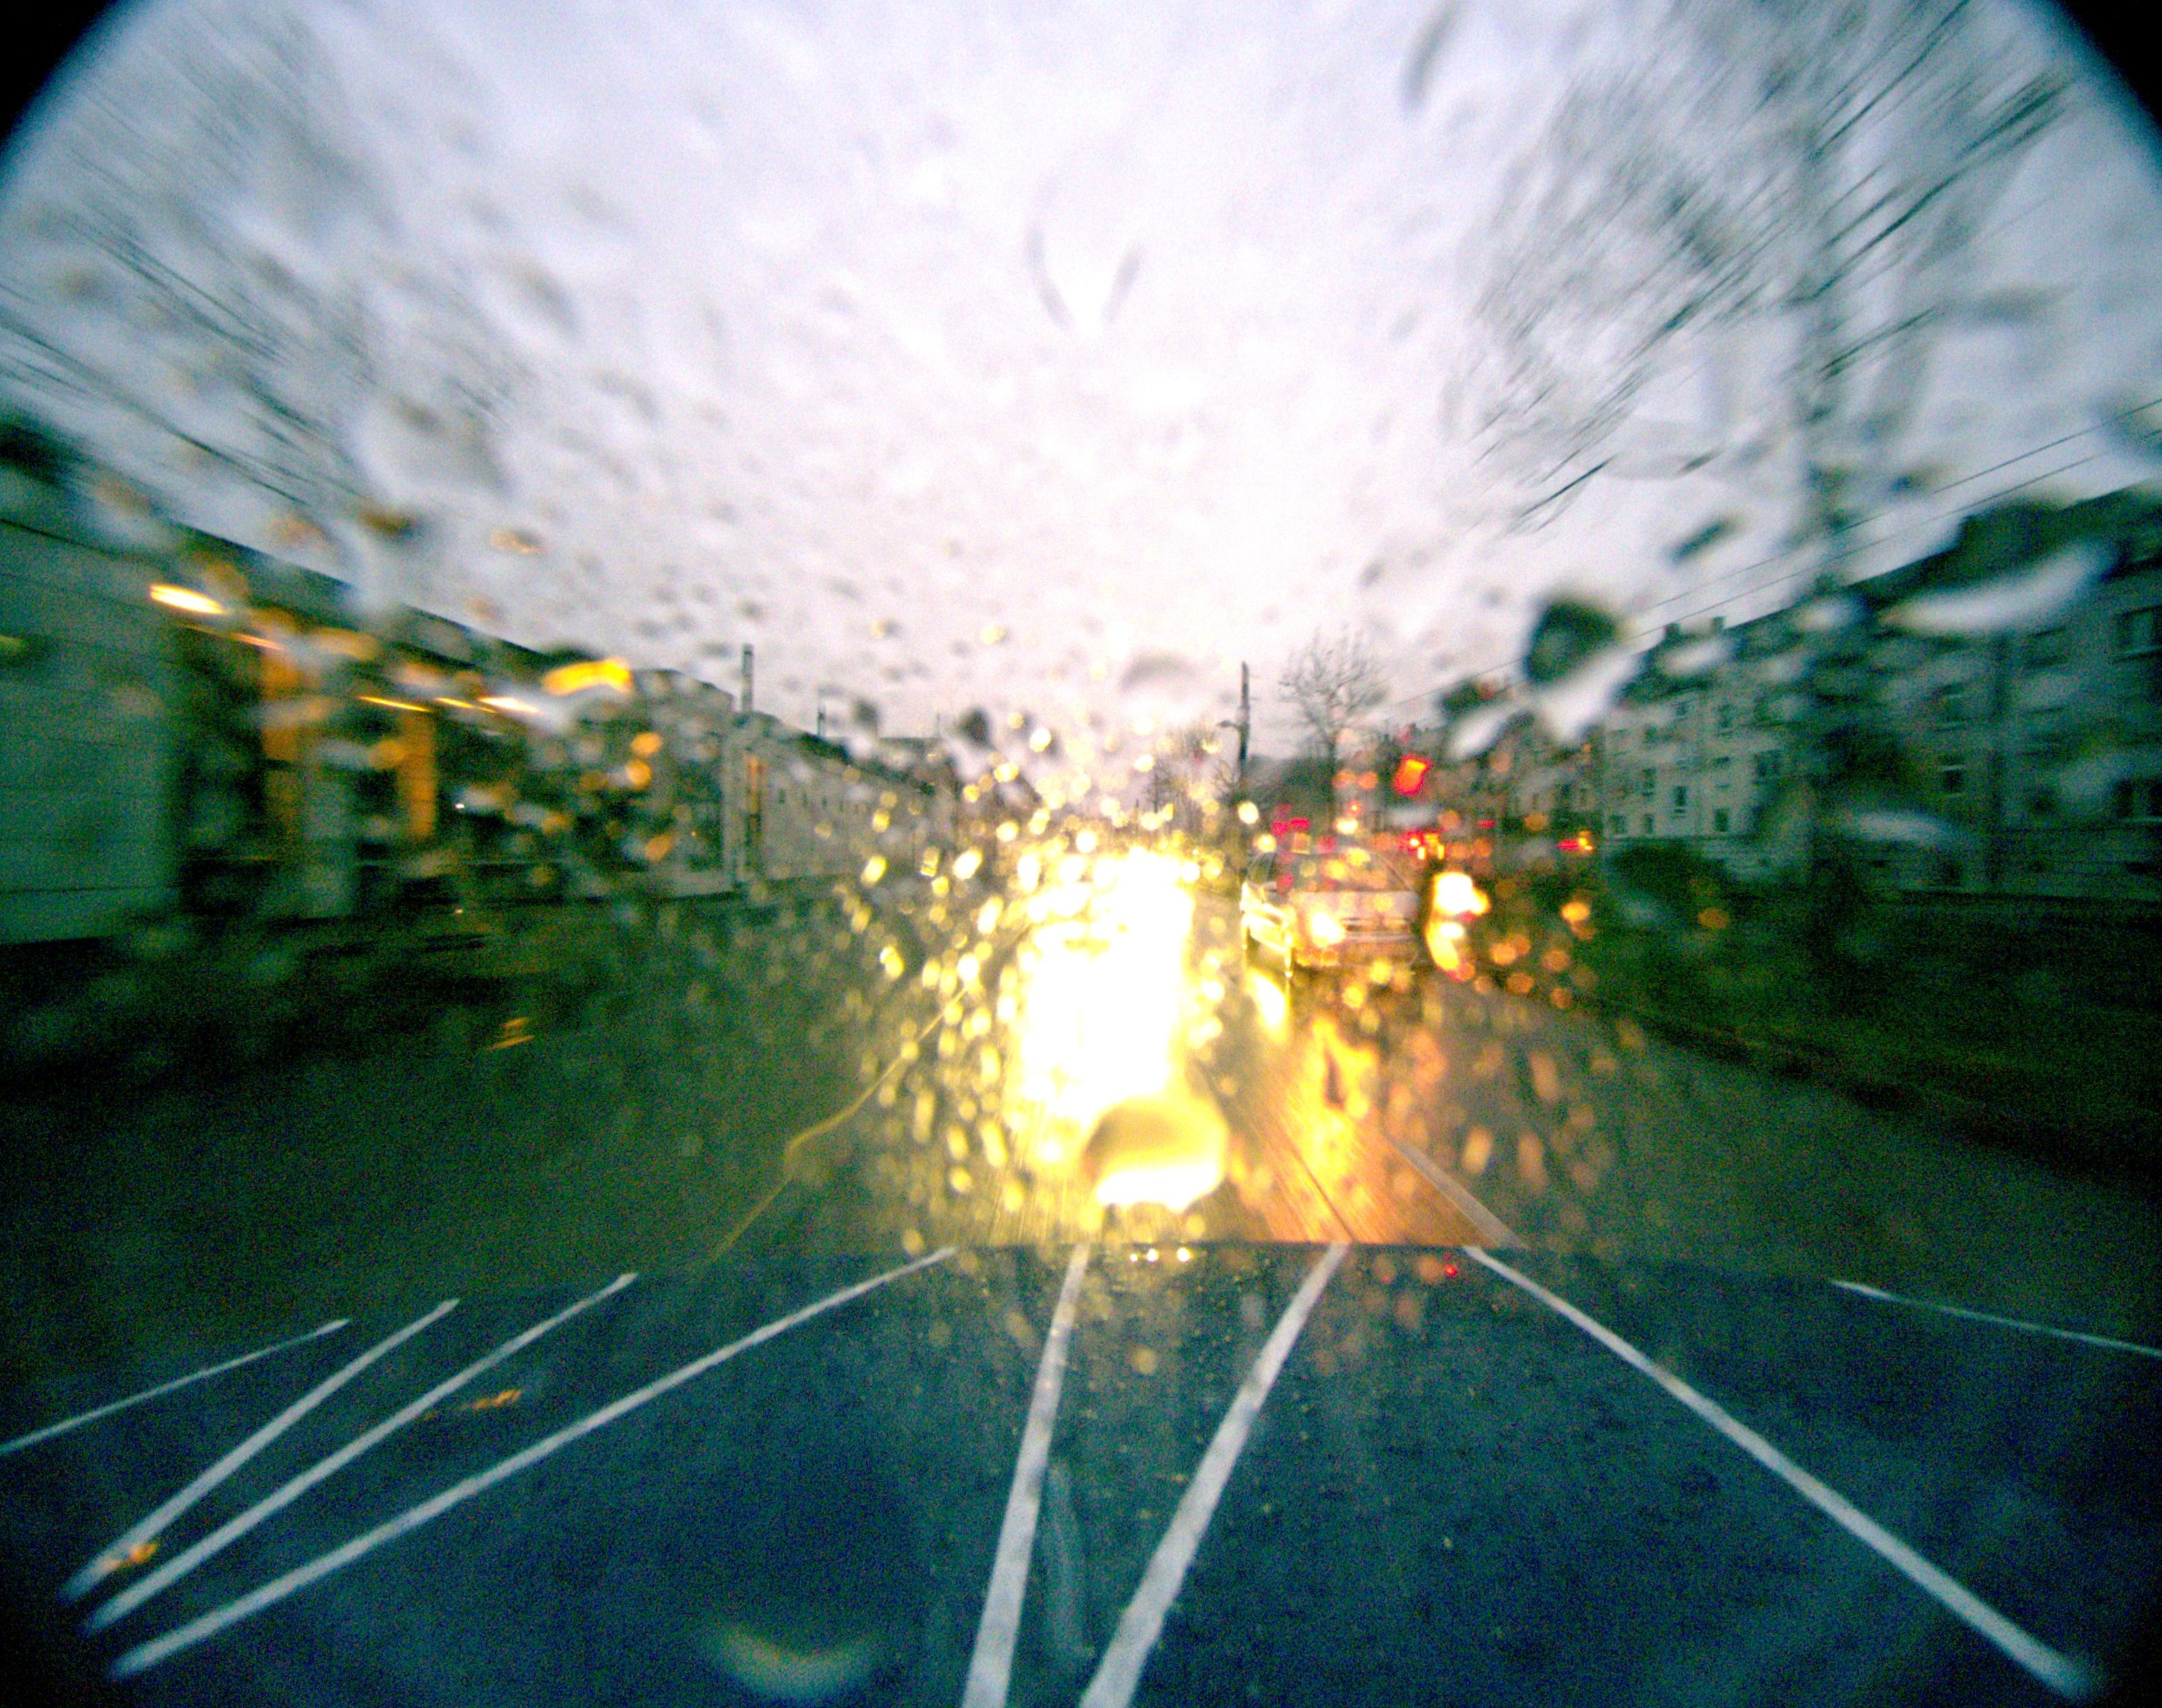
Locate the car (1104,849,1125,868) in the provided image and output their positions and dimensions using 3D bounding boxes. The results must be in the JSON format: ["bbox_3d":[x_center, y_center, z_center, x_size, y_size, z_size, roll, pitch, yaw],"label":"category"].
[{"bbox_3d":[3.131,0.439,71.969,1.802,1.674,3.805,-1,1,1],"label":"car"}]

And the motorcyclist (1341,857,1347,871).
[{"bbox_3d":[21.388,0.808,61.810,0.415,1.055,0.345,-1,1,8],"label":"motorcyclist"}]

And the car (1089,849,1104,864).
[{"bbox_3d":[1.826,0.267,90.677,1.686,1.669,3.468,-1,1,1],"label":"car"}]

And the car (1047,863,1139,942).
[{"bbox_3d":[0.249,0.920,15.876,1.669,1.325,3.786,-1,1,1],"label":"car"}]

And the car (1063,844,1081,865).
[{"bbox_3d":[-0.917,0.034,77.287,1.671,2.002,3.774,-1,1,1],"label":"car"}]

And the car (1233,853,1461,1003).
[{"bbox_3d":[3.202,0.776,9.964,1.638,1.511,3.907,-1,1,1],"label":"car"}]

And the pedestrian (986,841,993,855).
[{"bbox_3d":[-10.816,-0.683,89.740,0.674,1.639,0.769,2,1,0],"label":"pedestrian"}]

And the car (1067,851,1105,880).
[{"bbox_3d":[0.249,0.540,37.730,1.736,1.311,3.803,-1,1,1],"label":"car"}]

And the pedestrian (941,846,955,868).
[{"bbox_3d":[-9.969,0.247,56.855,0.814,1.621,0.883,2,1,0],"label":"pedestrian"}]

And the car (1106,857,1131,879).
[{"bbox_3d":[2.535,0.938,52.030,1.538,1.347,3.546,-1,1,1],"label":"car"}]

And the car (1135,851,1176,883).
[{"bbox_3d":[3.729,0.638,38.740,1.905,1.475,3.656,-1,1,3],"label":"car"}]

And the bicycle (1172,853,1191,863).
[{"bbox_3d":[9.353,0.384,70.695,1.725,0.893,0.733,2,2,1],"label":"bicycle"}]

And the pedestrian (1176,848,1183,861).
[{"bbox_3d":[9.189,0.033,70.654,0.562,1.150,0.582,-1,1,3],"label":"pedestrian"}]

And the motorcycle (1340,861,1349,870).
[{"bbox_3d":[21.362,0.943,61.628,0.422,0.679,1.176,-1,1,7],"label":"motorcycle"}]
